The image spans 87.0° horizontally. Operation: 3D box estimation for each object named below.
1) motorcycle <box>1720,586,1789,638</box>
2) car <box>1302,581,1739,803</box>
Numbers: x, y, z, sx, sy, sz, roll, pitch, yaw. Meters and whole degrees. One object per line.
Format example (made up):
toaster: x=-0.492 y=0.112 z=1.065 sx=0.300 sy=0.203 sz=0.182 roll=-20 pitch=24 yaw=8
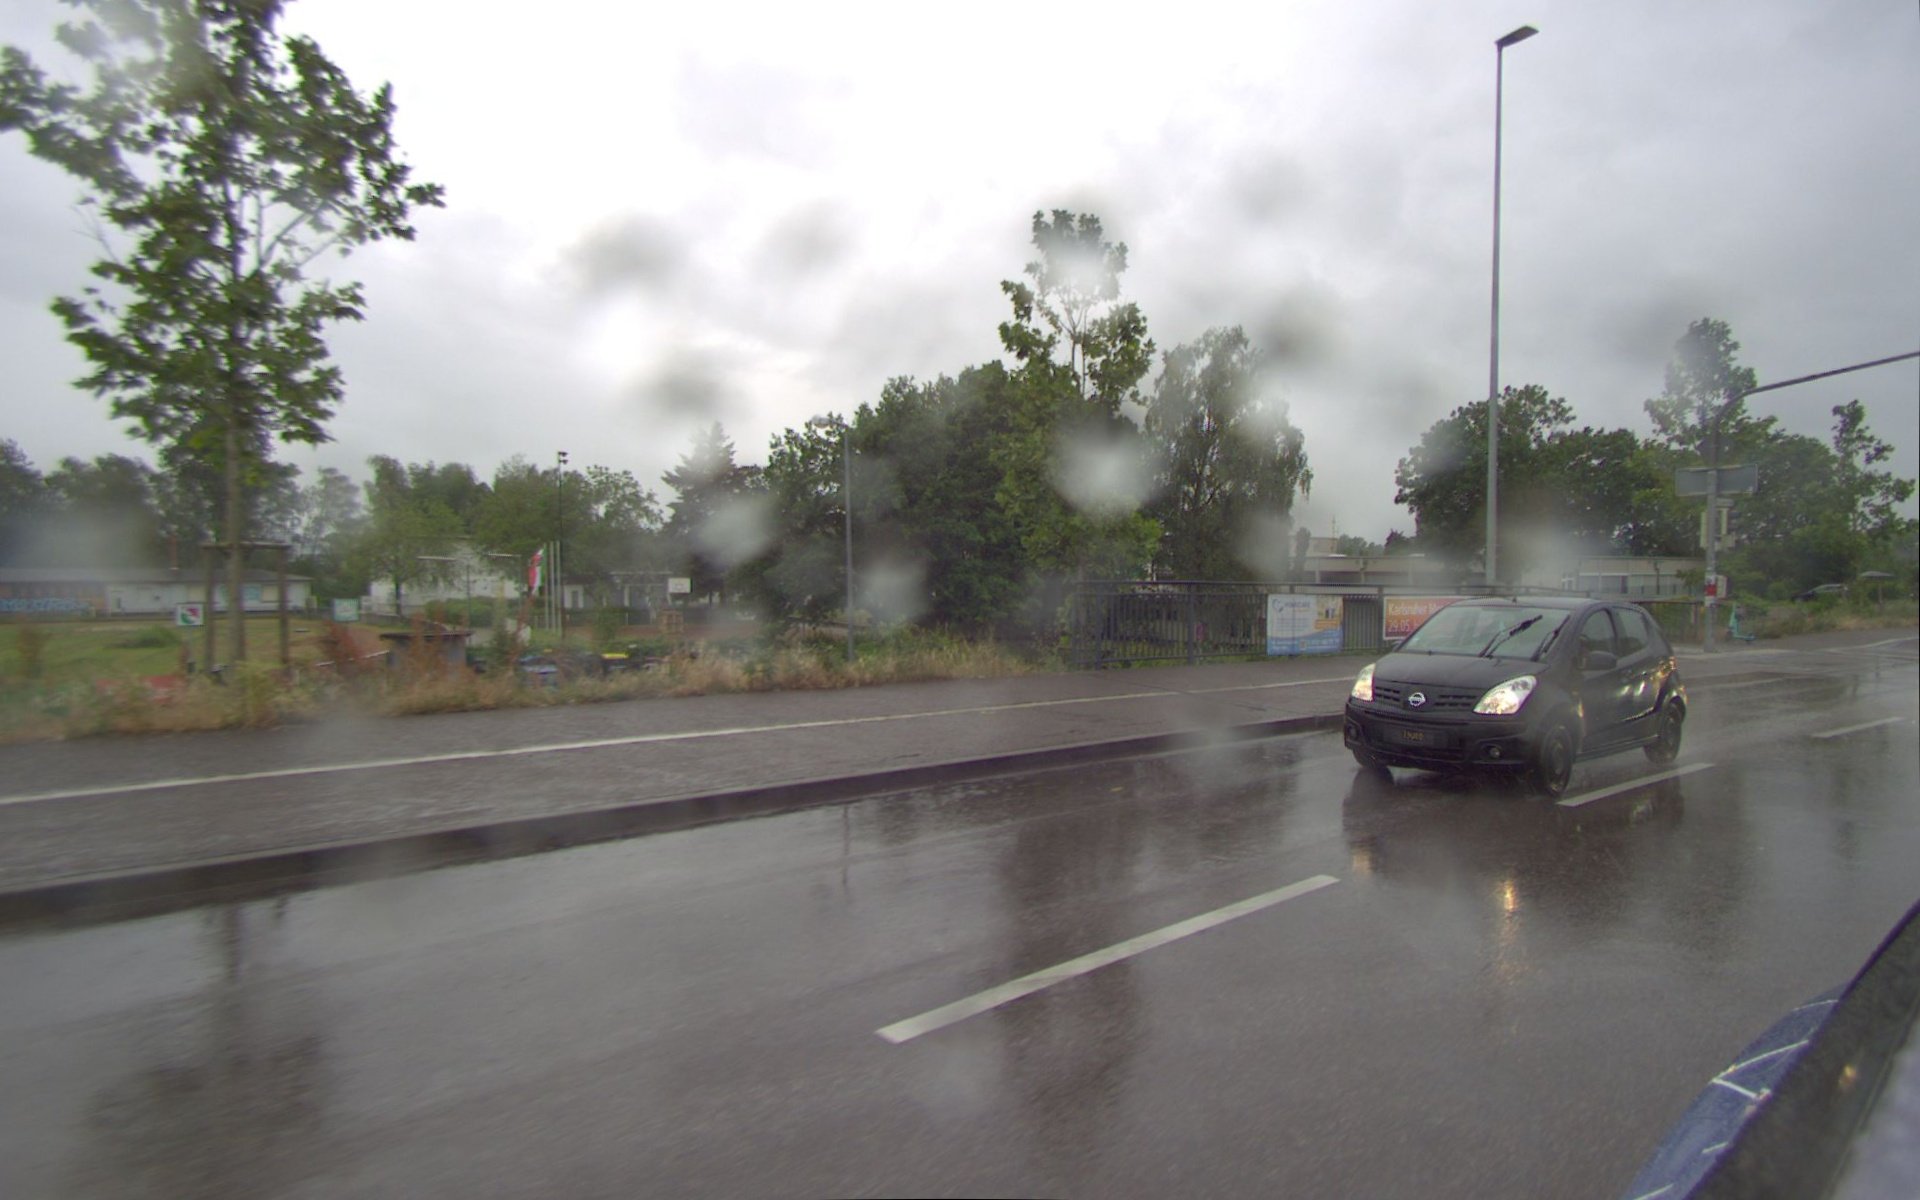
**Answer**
motorcycle: x=19.588 y=0.294 z=24.959 sx=1.417 sy=1.233 sz=0.635 roll=0 pitch=2 yaw=-20
car: x=4.913 y=0.627 z=8.688 sx=4.015 sy=1.480 sz=1.777 roll=1 pitch=0 yaw=-36
